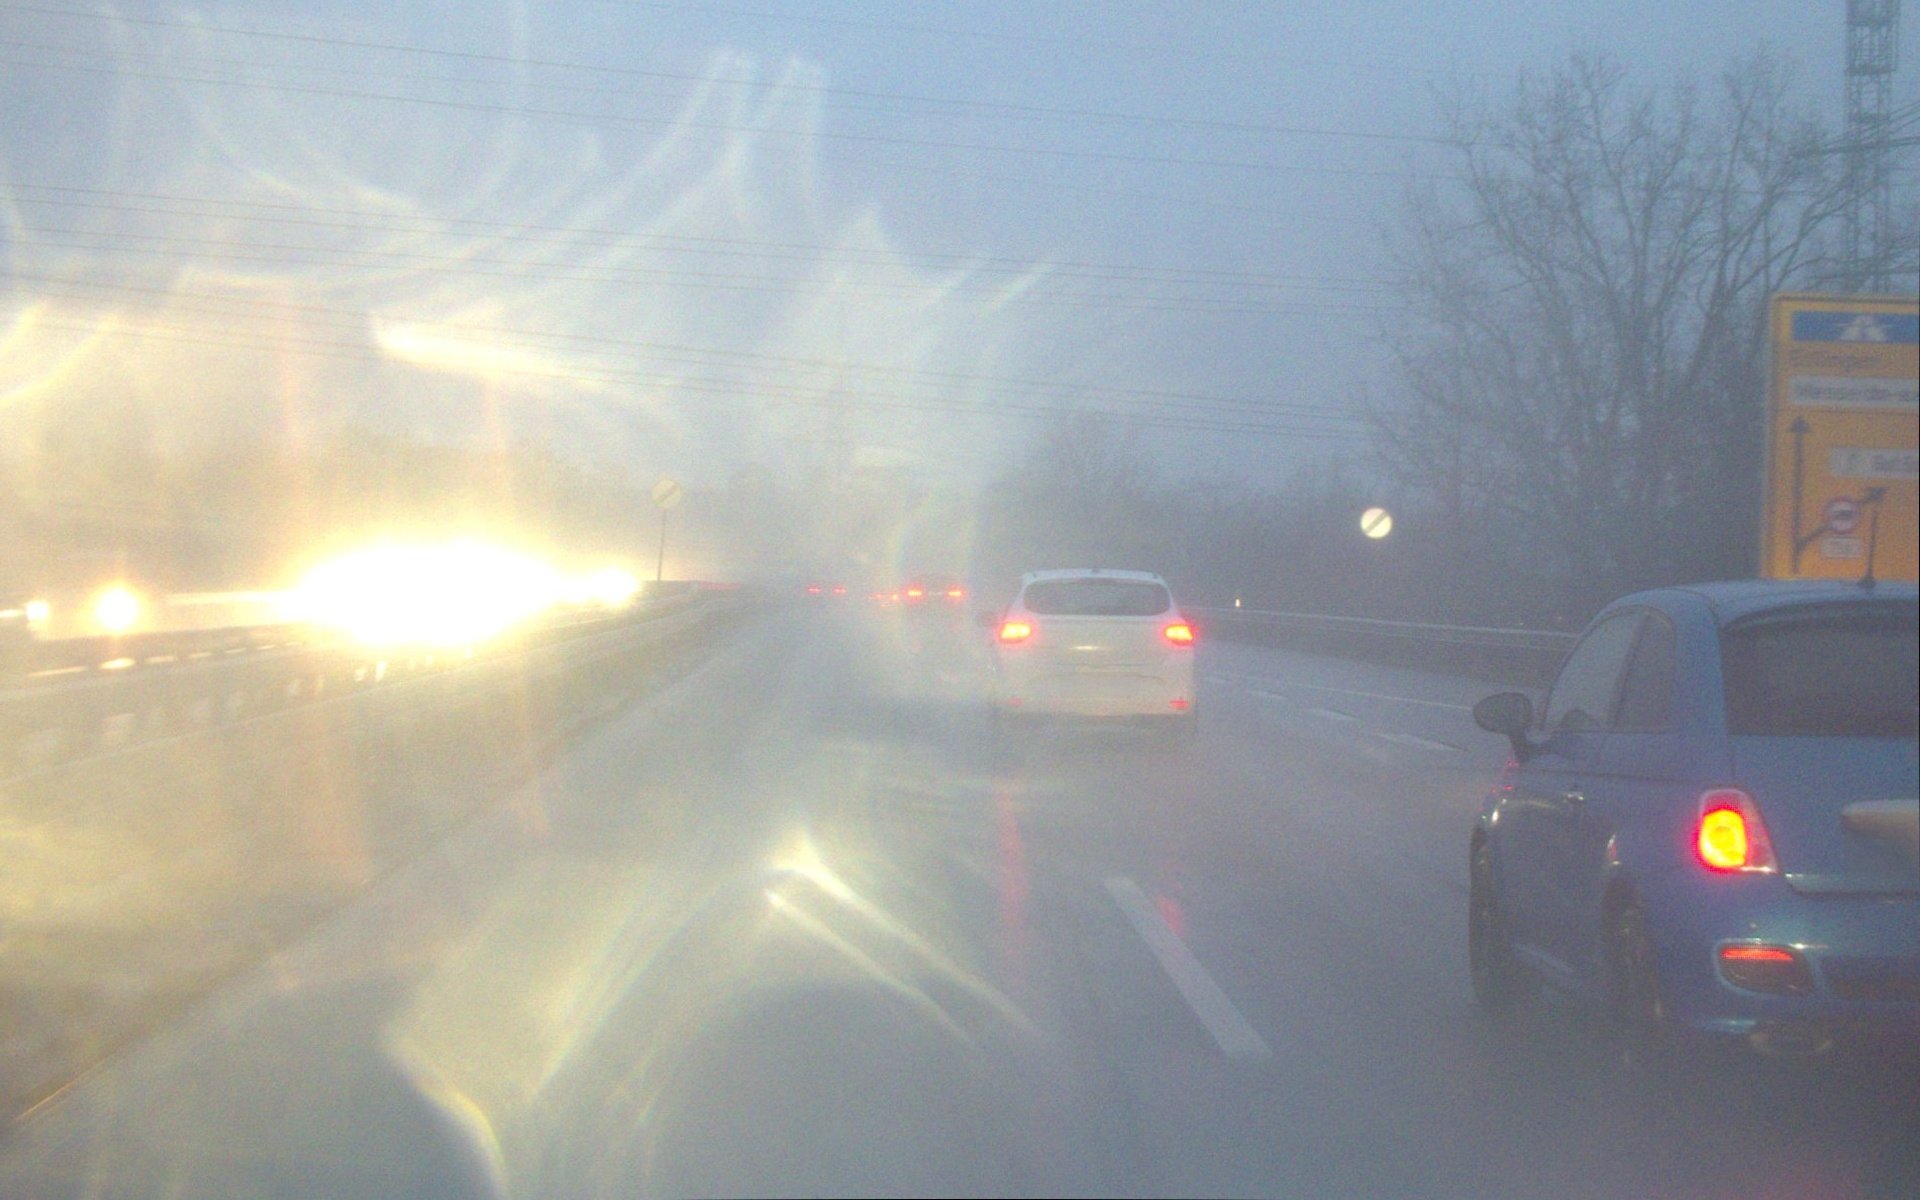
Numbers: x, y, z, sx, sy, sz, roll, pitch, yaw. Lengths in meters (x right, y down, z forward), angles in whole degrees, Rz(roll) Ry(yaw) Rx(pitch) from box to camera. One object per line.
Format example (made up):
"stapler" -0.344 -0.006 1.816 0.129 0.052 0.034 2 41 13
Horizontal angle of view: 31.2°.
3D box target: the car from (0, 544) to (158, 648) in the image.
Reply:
"car" -14.311 -0.098 55.352 1.984 1.546 4.393 0 2 -3

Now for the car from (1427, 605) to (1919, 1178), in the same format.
"car" 2.811 0.815 11.557 1.845 1.448 4.149 1 2 -1

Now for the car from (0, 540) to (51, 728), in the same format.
"car" -8.990 0.299 28.183 1.993 1.546 4.137 1 2 0

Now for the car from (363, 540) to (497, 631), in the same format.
"car" -9.716 -0.294 63.328 1.817 1.546 4.469 1 2 -1

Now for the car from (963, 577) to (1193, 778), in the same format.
"car" 0.989 0.638 30.675 1.845 1.630 3.768 1 1 -1
